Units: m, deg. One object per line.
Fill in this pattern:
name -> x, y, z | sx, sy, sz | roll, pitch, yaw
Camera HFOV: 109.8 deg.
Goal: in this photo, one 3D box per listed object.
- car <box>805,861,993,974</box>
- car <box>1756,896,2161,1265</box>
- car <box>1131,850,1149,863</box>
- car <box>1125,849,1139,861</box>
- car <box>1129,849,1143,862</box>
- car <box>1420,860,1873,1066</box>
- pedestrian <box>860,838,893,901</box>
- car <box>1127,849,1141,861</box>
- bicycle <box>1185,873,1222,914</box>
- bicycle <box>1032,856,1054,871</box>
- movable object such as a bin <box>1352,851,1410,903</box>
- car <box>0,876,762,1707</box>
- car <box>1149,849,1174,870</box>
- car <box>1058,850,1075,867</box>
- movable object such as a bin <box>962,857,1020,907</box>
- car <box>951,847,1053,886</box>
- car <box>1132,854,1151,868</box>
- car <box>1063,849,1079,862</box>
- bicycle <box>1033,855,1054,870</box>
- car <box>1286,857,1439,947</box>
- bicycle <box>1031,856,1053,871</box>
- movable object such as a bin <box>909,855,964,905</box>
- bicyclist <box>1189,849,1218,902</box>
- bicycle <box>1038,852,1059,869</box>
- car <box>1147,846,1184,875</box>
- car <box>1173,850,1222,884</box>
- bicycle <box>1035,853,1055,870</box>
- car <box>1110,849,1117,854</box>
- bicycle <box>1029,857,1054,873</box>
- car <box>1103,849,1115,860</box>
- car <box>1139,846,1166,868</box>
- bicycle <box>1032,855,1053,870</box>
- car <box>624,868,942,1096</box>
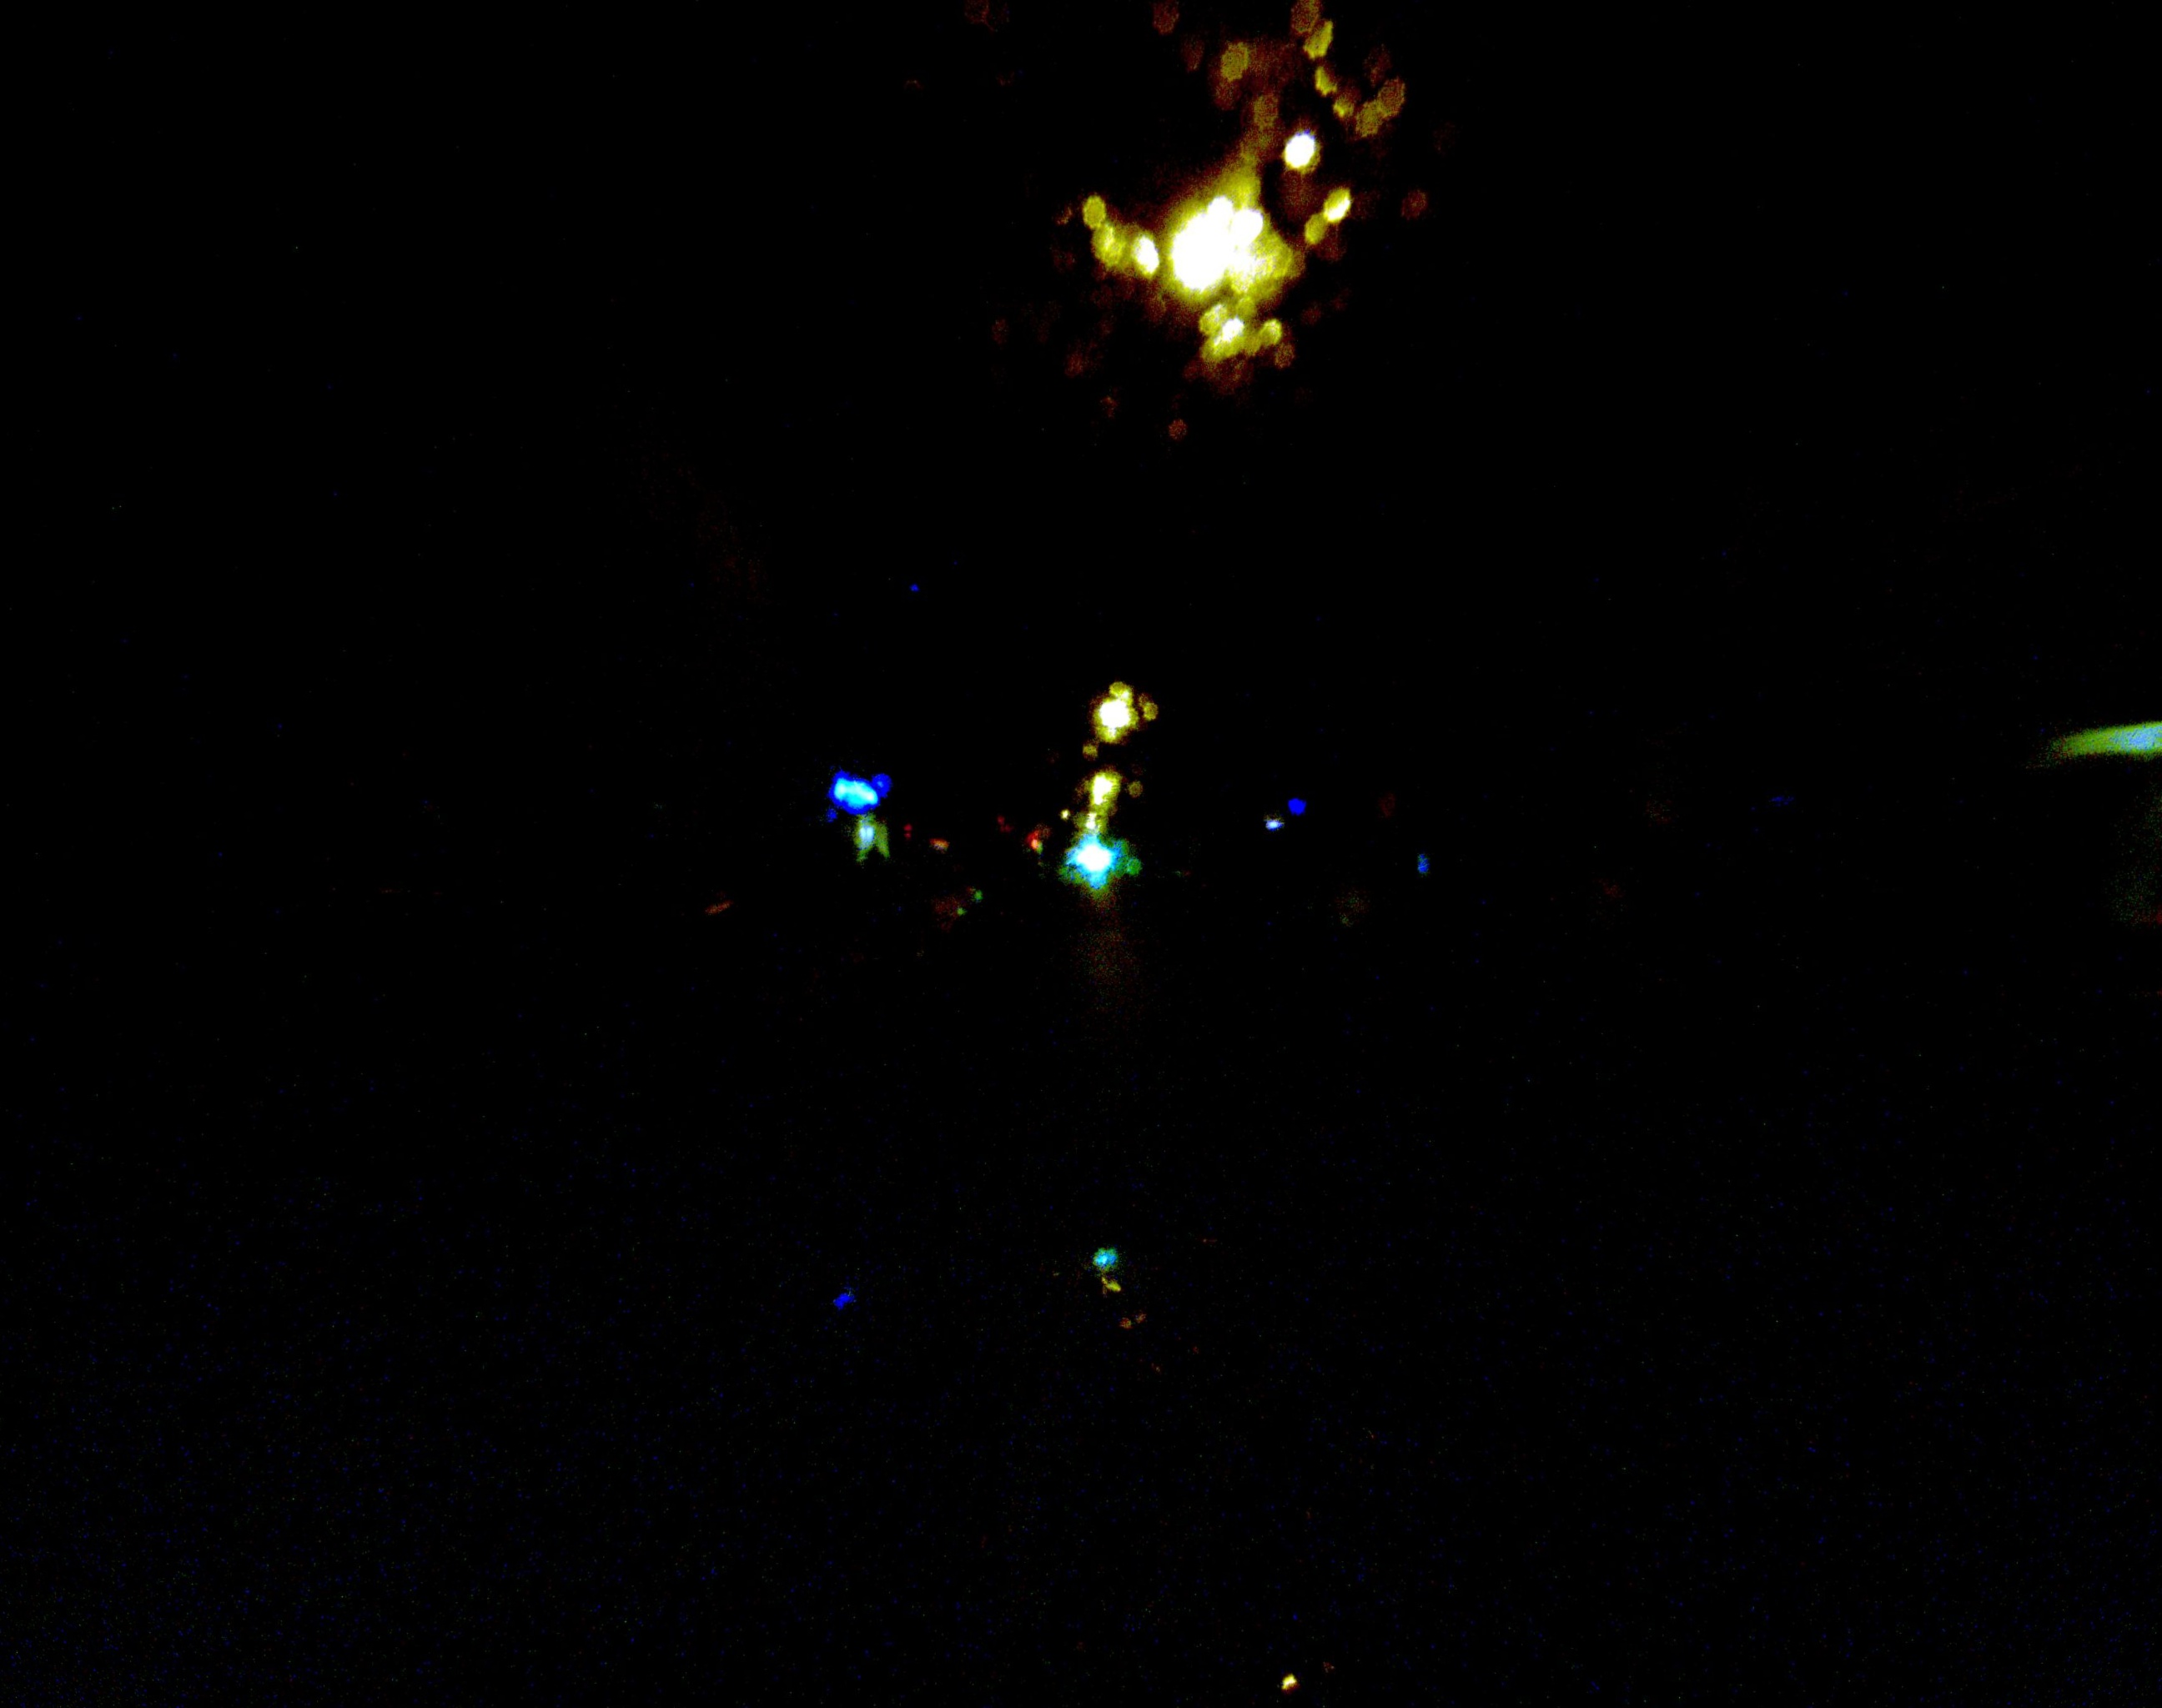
car -> -2.731, 0.882, 12.547 | 1.998, 1.455, 4.416 | 0, 1, 1
car -> 5.321, 0.986, 2.760 | 1.826, 1.382, 4.425 | 0, 1, 1
car -> 6.422, 0.256, 83.535 | 1.731, 1.445, 4.272 | 0, 0, 1
car -> 6.600, 0.106, 99.389 | 1.697, 1.470, 3.964 | 0, -1, 2
car -> 6.418, 0.190, 89.179 | 1.531, 1.445, 3.383 | 0, 0, 1
car -> 5.414, 0.886, 8.112 | 1.779, 1.563, 4.134 | 0, 1, 1
pedestrian -> -5.975, 0.448, 22.228 | 0.704, 1.778, 0.624 | 2, 0, 4
car -> 6.625, 0.137, 95.359 | 1.696, 1.470, 3.385 | 0, -1, 5
bicycle -> 3.620, 1.144, 22.614 | 0.729, 1.066, 2.348 | 1, 1, 1
bicycle -> -2.826, 0.716, 56.016 | 1.533, 0.947, 0.366 | 5, 2, -3
movable object such as a bin -> 8.696, 0.645, 22.080 | 1.104, 1.446, 1.378 | 1, 1, -1
car -> -2.542, 0.875, 2.063 | 1.694, 1.490, 3.891 | 0, 1, 0
car -> 5.932, 0.377, 56.367 | 1.573, 1.451, 3.720 | 0, 0, 1
car -> -1.590, 0.439, 82.084 | 1.676, 1.712, 3.856 | 1, 1, 1
movable object such as a bin -> -2.735, 0.828, 23.021 | 1.344, 1.421, 1.198 | -1, 1, -35
car -> -3.636, 0.555, 35.488 | 4.523, 1.522, 1.780 | 3, 1, 0
car -> 6.138, 0.679, 77.503 | 1.731, 1.384, 4.555 | 0, 0, 1
car -> -1.209, 0.189, 93.978 | 1.846, 1.498, 4.162 | 1, 1, 1
bicycle -> -2.885, 0.636, 59.233 | 1.532, 1.018, 0.366 | 5, 2, -1
car -> 5.433, 0.853, 15.170 | 1.676, 1.482, 3.721 | -1, 1, 1
bicycle -> -2.840, 0.715, 55.496 | 1.533, 0.947, 0.366 | 5, 2, -3
movable object such as a bin -> -4.265, 0.753, 22.517 | 1.311, 1.421, 1.051 | 0, 1, 10
bicyclist -> 3.642, 0.635, 22.680 | 0.720, 1.547, 0.895 | 1, 1, 1
bicycle -> -2.623, 0.540, 60.811 | 1.532, 1.195, 0.366 | 6, 2, 3
car -> 5.573, 0.389, 50.508 | 2.001, 1.819, 5.206 | 0, 0, 1
car -> 5.784, 0.611, 38.158 | 1.771, 1.474, 4.772 | -3, 0, 2
bicycle -> -2.853, 0.557, 60.363 | 1.532, 1.195, 0.366 | 5, 2, -1
car -> 8.593, -0.670, 199.953 | 1.877, 1.386, 4.075 | 0, -1, 4
bicycle -> -2.775, 0.769, 53.665 | 1.672, 0.947, 0.366 | 6, 2, 8
car -> 4.367, 0.114, 118.487 | 1.846, 1.687, 4.162 | 1, 1, 1
car -> 6.116, 0.220, 65.484 | 1.907, 1.819, 4.829 | 0, 0, 1
bicycle -> -2.933, 0.659, 57.927 | 1.532, 1.018, 0.366 | 6, 2, 4
car -> -2.443, 0.938, 7.307 | 1.694, 1.490, 3.889 | 0, 1, -3
